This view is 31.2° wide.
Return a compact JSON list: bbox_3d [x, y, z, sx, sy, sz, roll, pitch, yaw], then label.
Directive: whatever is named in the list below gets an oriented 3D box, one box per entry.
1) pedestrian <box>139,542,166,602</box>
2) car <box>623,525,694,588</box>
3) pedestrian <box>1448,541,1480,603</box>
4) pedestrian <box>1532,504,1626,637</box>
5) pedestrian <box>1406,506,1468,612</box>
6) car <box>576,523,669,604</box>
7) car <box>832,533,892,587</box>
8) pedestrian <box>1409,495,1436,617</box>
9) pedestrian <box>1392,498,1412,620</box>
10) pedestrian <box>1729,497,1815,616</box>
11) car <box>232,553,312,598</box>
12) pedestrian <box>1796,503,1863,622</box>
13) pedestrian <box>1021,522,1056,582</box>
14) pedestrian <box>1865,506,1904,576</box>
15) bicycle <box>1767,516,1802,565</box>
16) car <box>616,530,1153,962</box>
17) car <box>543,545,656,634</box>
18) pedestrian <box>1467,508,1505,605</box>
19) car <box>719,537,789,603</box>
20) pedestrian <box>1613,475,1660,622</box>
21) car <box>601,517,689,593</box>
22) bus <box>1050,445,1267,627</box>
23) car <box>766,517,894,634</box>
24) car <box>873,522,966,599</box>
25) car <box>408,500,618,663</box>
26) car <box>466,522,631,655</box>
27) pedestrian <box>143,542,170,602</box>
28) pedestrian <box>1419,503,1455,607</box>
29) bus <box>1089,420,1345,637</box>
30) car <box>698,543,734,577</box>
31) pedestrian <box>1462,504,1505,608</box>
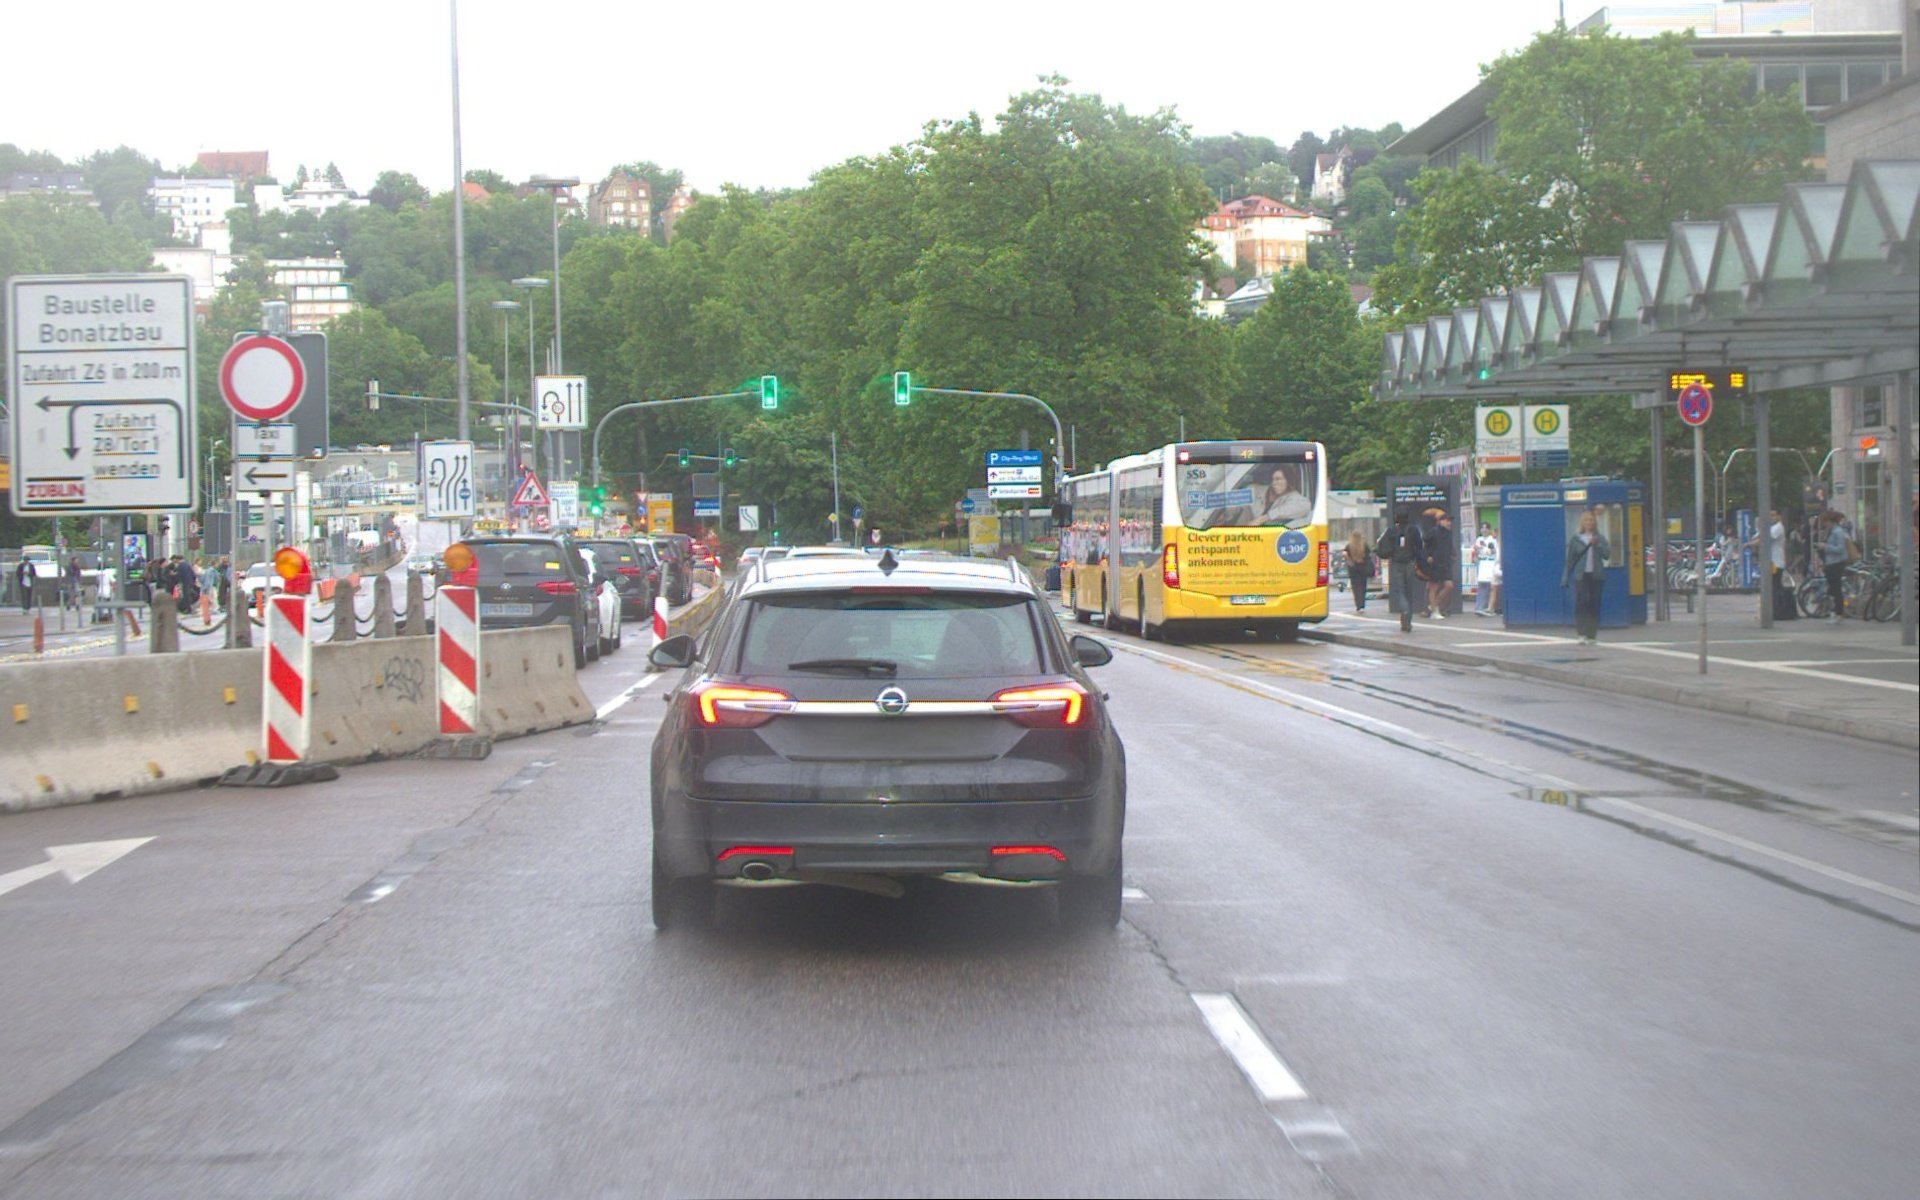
[{"bbox_3d":[-24.715,-0.857,105.267,0.697,1.834,0.528,-1,1,-4],"label":"pedestrian"},{"bbox_3d":[-8.452,-1.236,96.647,1.786,1.680,4.667,-1,1,-3],"label":"car"},{"bbox_3d":[10.181,-0.572,69.407,0.514,1.228,0.770,-1,1,1],"label":"pedestrian"},{"bbox_3d":[7.933,-0.385,44.074,0.759,1.684,0.999,-1,1,-23],"label":"pedestrian"},{"bbox_3d":[8.306,-0.712,59.866,0.985,1.830,0.835,0,1,14],"label":"pedestrian"},{"bbox_3d":[-7.733,-0.856,79.099,1.993,1.781,4.455,-1,1,-4],"label":"car"},{"bbox_3d":[-2.905,-1.183,101.424,1.674,1.576,3.240,0,0,-3],"label":"car"},{"bbox_3d":[6.996,-0.672,52.001,0.347,1.830,0.533,0,1,1],"label":"pedestrian"},{"bbox_3d":[6.669,-0.619,51.893,0.243,1.830,0.512,0,1,1],"label":"pedestrian"},{"bbox_3d":[12.499,-0.666,52.920,0.786,1.798,0.993,-2,1,-30],"label":"pedestrian"},{"bbox_3d":[-22.812,-0.831,114.073,1.993,1.463,4.000,0,1,-2],"label":"car"},{"bbox_3d":[12.553,-0.548,49.630,0.748,1.689,0.902,0,1,1],"label":"pedestrian"},{"bbox_3d":[2.447,-1.503,107.315,0.786,1.832,0.950,-1,1,-17],"label":"pedestrian"},{"bbox_3d":[23.941,-1.525,89.064,0.731,1.786,0.789,-1,1,-3],"label":"pedestrian"},{"bbox_3d":[26.878,-1.942,112.106,0.793,1.556,2.131,-1,1,5],"label":"bicycle"},{"bbox_3d":[-0.295,0.473,14.527,1.877,1.503,4.852,-1,1,-1],"label":"car"},{"bbox_3d":[-7.042,-0.235,67.611,1.993,1.648,4.642,-1,1,-4],"label":"car"},{"bbox_3d":[9.397,-0.782,61.436,0.609,1.717,0.592,0,1,2],"label":"pedestrian"},{"bbox_3d":[-6.395,-0.938,106.390,1.983,2.007,4.370,0,0,-6],"label":"car"},{"bbox_3d":[10.235,-0.787,52.010,0.590,2.207,0.587,0,1,0],"label":"pedestrian"},{"bbox_3d":[-7.754,-1.125,84.912,1.993,1.781,4.848,-1,1,-4],"label":"car"},{"bbox_3d":[3.611,-1.173,65.159,3.113,3.194,9.243,0,1,-3],"label":"bus"},{"bbox_3d":[-1.937,-0.393,52.120,1.830,1.680,4.134,-1,1,-1],"label":"car"},{"bbox_3d":[-0.951,-0.897,78.722,1.851,1.711,4.001,0,0,-5],"label":"car"},{"bbox_3d":[-5.443,-0.256,42.395,1.993,1.856,4.833,-1,1,-1],"label":"car"},{"bbox_3d":[-5.658,-0.192,47.737,1.993,1.700,4.833,-1,1,-4],"label":"car"},{"bbox_3d":[-24.773,-0.869,105.978,0.697,1.835,0.878,0,0,-4],"label":"pedestrian"},{"bbox_3d":[8.522,-0.806,61.421,0.565,1.830,0.569,0,1,1],"label":"pedestrian"},{"bbox_3d":[4.017,-1.111,55.998,3.141,3.236,9.136,0,1,-2],"label":"bus"},{"bbox_3d":[-12.152,-1.998,171.424,1.706,1.660,3.706,0,0,-3],"label":"car"},{"bbox_3d":[9.262,-0.772,60.798,0.695,1.830,0.555,0,1,14],"label":"pedestrian"}]
